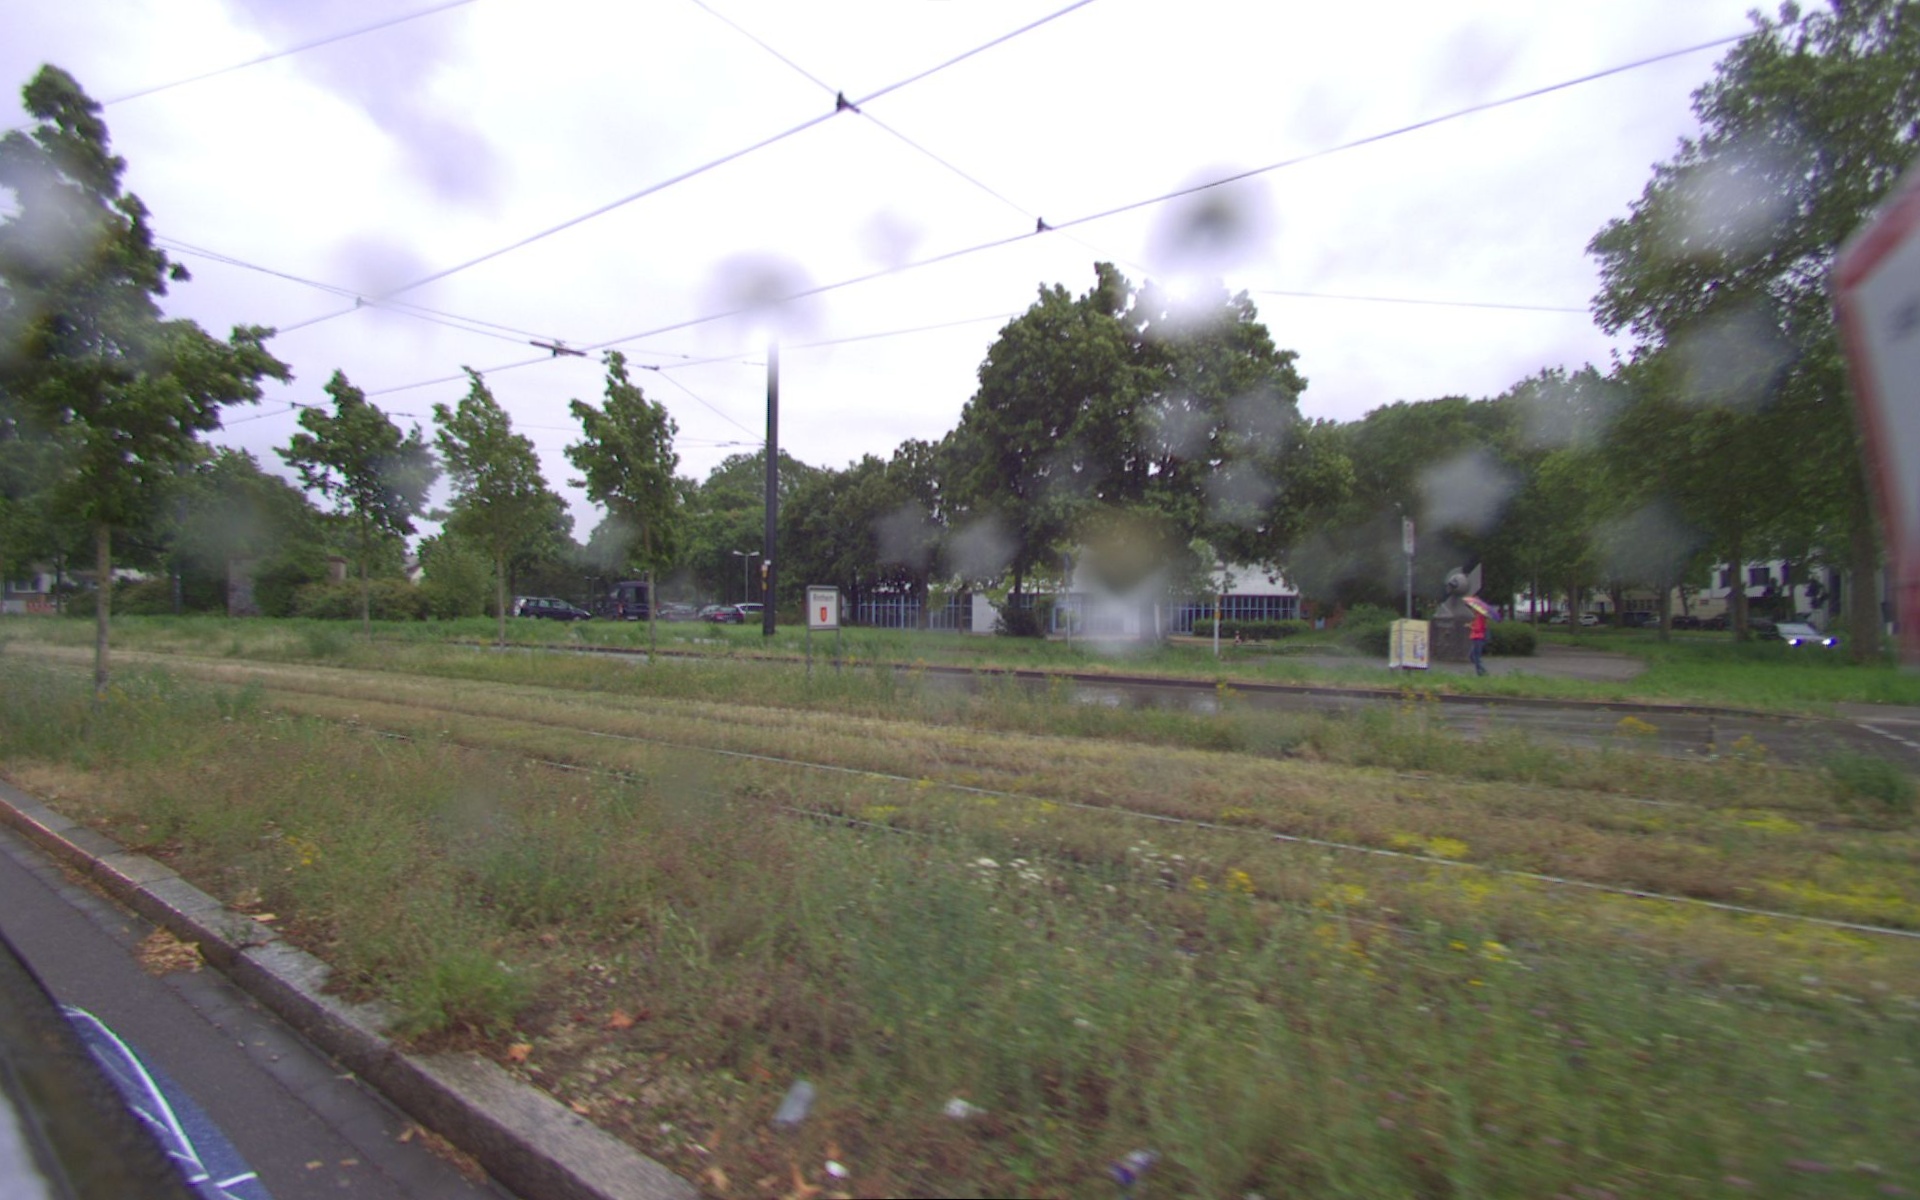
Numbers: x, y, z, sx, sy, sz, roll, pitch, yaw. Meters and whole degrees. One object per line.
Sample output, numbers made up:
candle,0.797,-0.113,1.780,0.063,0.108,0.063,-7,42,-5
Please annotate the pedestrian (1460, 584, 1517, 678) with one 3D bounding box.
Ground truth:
pedestrian,11.637,0.660,22.285,1.005,2.005,0.943,0,1,34

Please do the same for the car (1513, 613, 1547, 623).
car,84.236,2.665,149.602,3.828,1.515,1.887,0,1,2

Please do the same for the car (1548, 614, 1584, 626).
car,83.742,2.775,139.890,3.828,1.504,1.887,0,1,2

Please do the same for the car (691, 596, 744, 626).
car,-13.665,0.560,56.804,2.026,1.584,5.033,0,1,-23

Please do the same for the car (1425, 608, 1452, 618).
car,87.239,2.371,184.701,3.947,1.834,1.998,0,1,3

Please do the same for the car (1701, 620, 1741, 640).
car,74.992,2.971,99.793,1.984,1.796,3.975,0,1,19

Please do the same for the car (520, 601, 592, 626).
car,-25.429,0.836,63.743,4.110,1.494,1.789,0,1,-25

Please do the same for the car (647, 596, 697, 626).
car,-15.927,0.548,55.865,1.726,1.542,4.865,0,1,-28

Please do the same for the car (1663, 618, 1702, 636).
car,76.302,2.832,106.872,1.981,1.796,3.982,0,1,14

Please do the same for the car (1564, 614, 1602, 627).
car,83.738,2.737,136.092,3.834,1.663,1.884,0,1,7

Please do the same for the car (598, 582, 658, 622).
car,-17.772,0.072,54.015,2.273,2.029,5.134,0,1,-28

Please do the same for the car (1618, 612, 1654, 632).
car,78.960,2.557,118.315,2.106,2.104,3.985,0,1,12
